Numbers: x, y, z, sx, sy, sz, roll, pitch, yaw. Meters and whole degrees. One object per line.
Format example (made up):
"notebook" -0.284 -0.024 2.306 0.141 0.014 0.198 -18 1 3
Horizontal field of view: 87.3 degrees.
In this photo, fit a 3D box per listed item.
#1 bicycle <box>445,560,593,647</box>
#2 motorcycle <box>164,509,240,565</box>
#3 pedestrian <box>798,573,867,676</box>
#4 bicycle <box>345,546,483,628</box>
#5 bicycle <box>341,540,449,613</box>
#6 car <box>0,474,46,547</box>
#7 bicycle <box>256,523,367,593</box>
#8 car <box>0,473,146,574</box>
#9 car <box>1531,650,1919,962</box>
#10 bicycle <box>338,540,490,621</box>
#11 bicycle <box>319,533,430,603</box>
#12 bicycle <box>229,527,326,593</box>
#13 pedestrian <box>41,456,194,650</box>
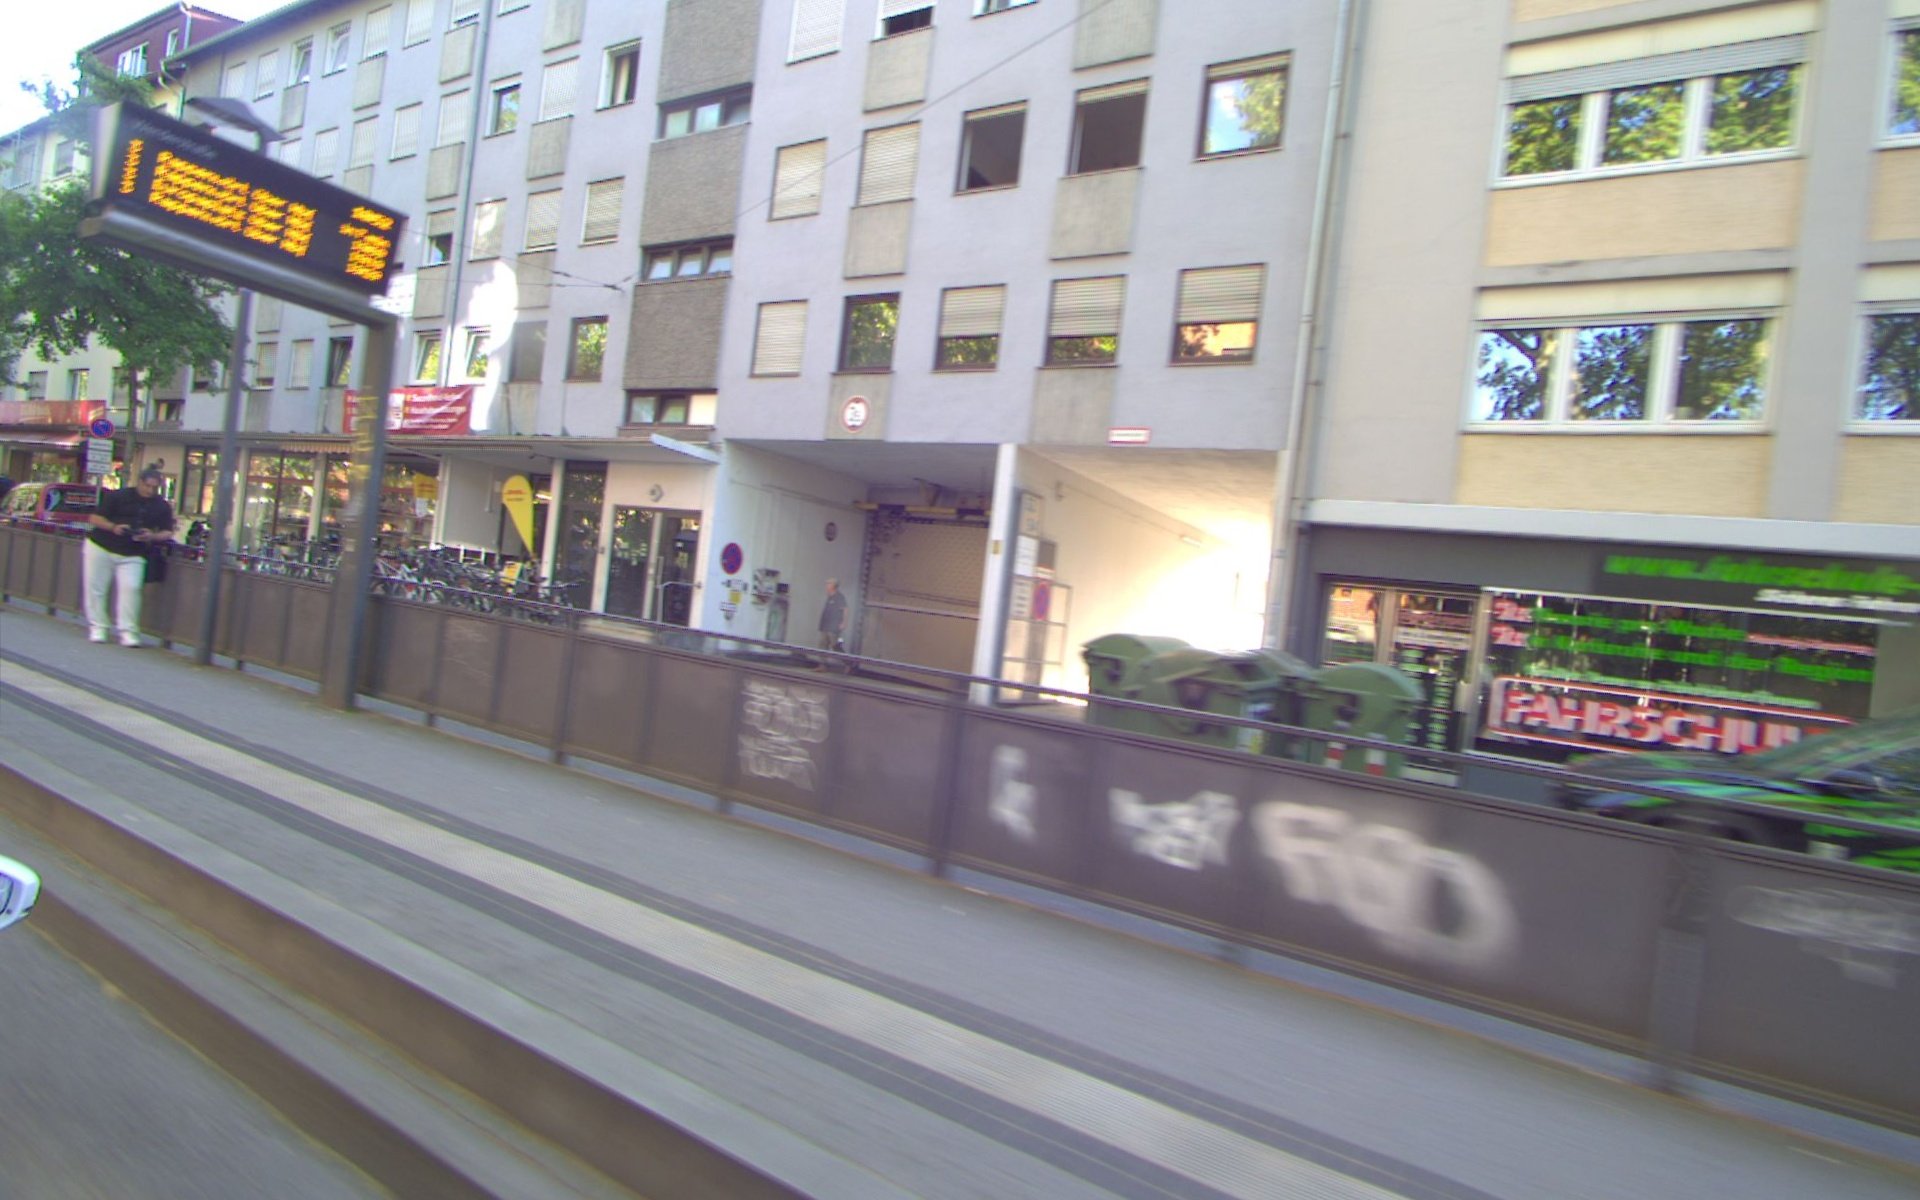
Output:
"bicycle" -7.340 0.059 16.726 2.394 1.149 0.623 7 -1 20
"motorcycle" -20.703 -1.719 27.466 2.009 1.295 0.893 6 -1 32
"pedestrian" -2.382 0.471 18.821 0.805 1.792 0.719 7 0 32
"bicycle" -9.599 -0.237 17.674 2.389 1.149 0.604 7 -1 20
"bicycle" -10.921 -0.463 19.433 2.163 1.149 0.411 7 -1 20
"car" -27.402 -2.639 27.781 3.933 1.818 1.998 6 -2 31
"bicycle" -13.048 -0.852 20.224 2.163 1.149 0.599 7 -1 20
"car" -21.784 -1.871 24.248 3.933 1.975 1.997 6 -2 31
"car" 6.407 1.448 6.734 4.325 1.634 1.860 6 -2 32
"bicycle" -10.075 -0.374 18.534 2.867 1.149 0.613 7 -1 20
"bicycle" -11.857 -0.656 20.346 2.163 1.149 0.599 7 -1 20
"bicycle" -14.414 -0.842 21.236 2.165 1.149 0.599 6 -1 26
"pedestrian" -7.545 -0.419 9.015 0.856 1.594 0.632 7 -2 32
